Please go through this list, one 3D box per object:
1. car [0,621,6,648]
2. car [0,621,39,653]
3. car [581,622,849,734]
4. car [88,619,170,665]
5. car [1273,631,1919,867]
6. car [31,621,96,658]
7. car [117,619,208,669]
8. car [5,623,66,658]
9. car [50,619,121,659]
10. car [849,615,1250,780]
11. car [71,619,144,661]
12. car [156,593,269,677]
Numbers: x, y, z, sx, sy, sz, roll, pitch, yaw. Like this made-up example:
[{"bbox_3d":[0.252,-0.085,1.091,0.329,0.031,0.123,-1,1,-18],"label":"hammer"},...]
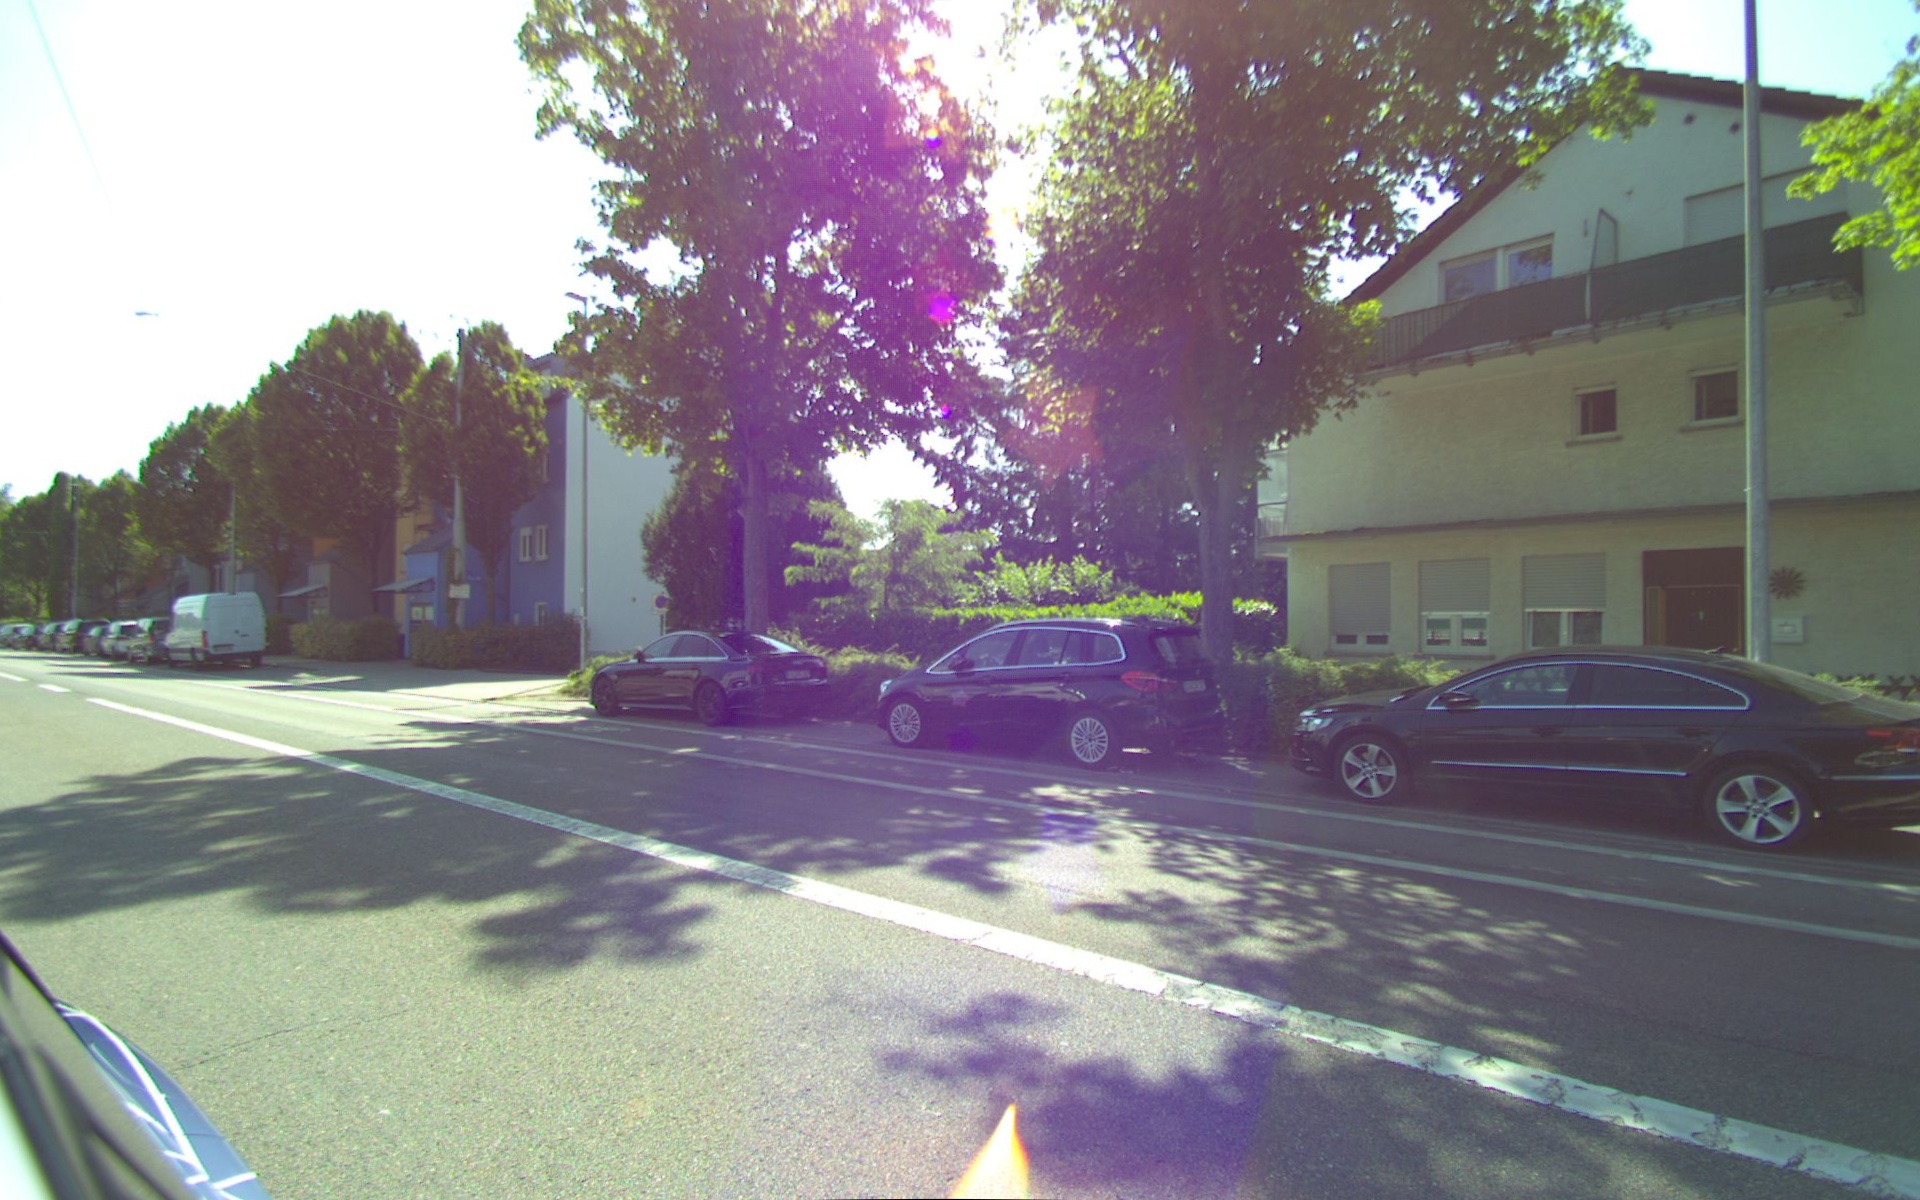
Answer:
[{"bbox_3d":[-68.783,2.501,71.084,4.766,1.818,1.974,-2,4,41],"label":"car"},{"bbox_3d":[-60.271,2.354,64.208,4.766,1.818,1.974,-2,4,41],"label":"car"},{"bbox_3d":[-4.091,1.157,16.513,4.616,1.583,1.845,-1,-2,39],"label":"car"},{"bbox_3d":[-38.065,1.876,46.322,4.766,1.818,1.974,-2,4,41],"label":"car"},{"bbox_3d":[5.211,1.005,8.420,4.619,1.426,1.844,-1,0,41],"label":"car"},{"bbox_3d":[-50.238,2.192,56.681,4.766,1.818,1.974,-2,4,41],"label":"car"},{"bbox_3d":[-33.527,1.811,42.505,4.766,1.818,1.974,-2,4,41],"label":"car"},{"bbox_3d":[-54.915,2.377,60.101,4.766,1.818,1.974,-2,4,41],"label":"car"},{"bbox_3d":[-45.860,2.020,53.036,4.766,1.818,1.974,-2,4,41],"label":"car"},{"bbox_3d":[0.924,1.019,12.246,4.619,1.583,1.844,-1,0,41],"label":"car"},{"bbox_3d":[-42.135,1.959,49.996,4.254,1.818,1.974,-2,4,41],"label":"car"},{"bbox_3d":[-27.381,1.240,36.956,6.213,2.713,1.973,-2,4,43],"label":"car"}]
